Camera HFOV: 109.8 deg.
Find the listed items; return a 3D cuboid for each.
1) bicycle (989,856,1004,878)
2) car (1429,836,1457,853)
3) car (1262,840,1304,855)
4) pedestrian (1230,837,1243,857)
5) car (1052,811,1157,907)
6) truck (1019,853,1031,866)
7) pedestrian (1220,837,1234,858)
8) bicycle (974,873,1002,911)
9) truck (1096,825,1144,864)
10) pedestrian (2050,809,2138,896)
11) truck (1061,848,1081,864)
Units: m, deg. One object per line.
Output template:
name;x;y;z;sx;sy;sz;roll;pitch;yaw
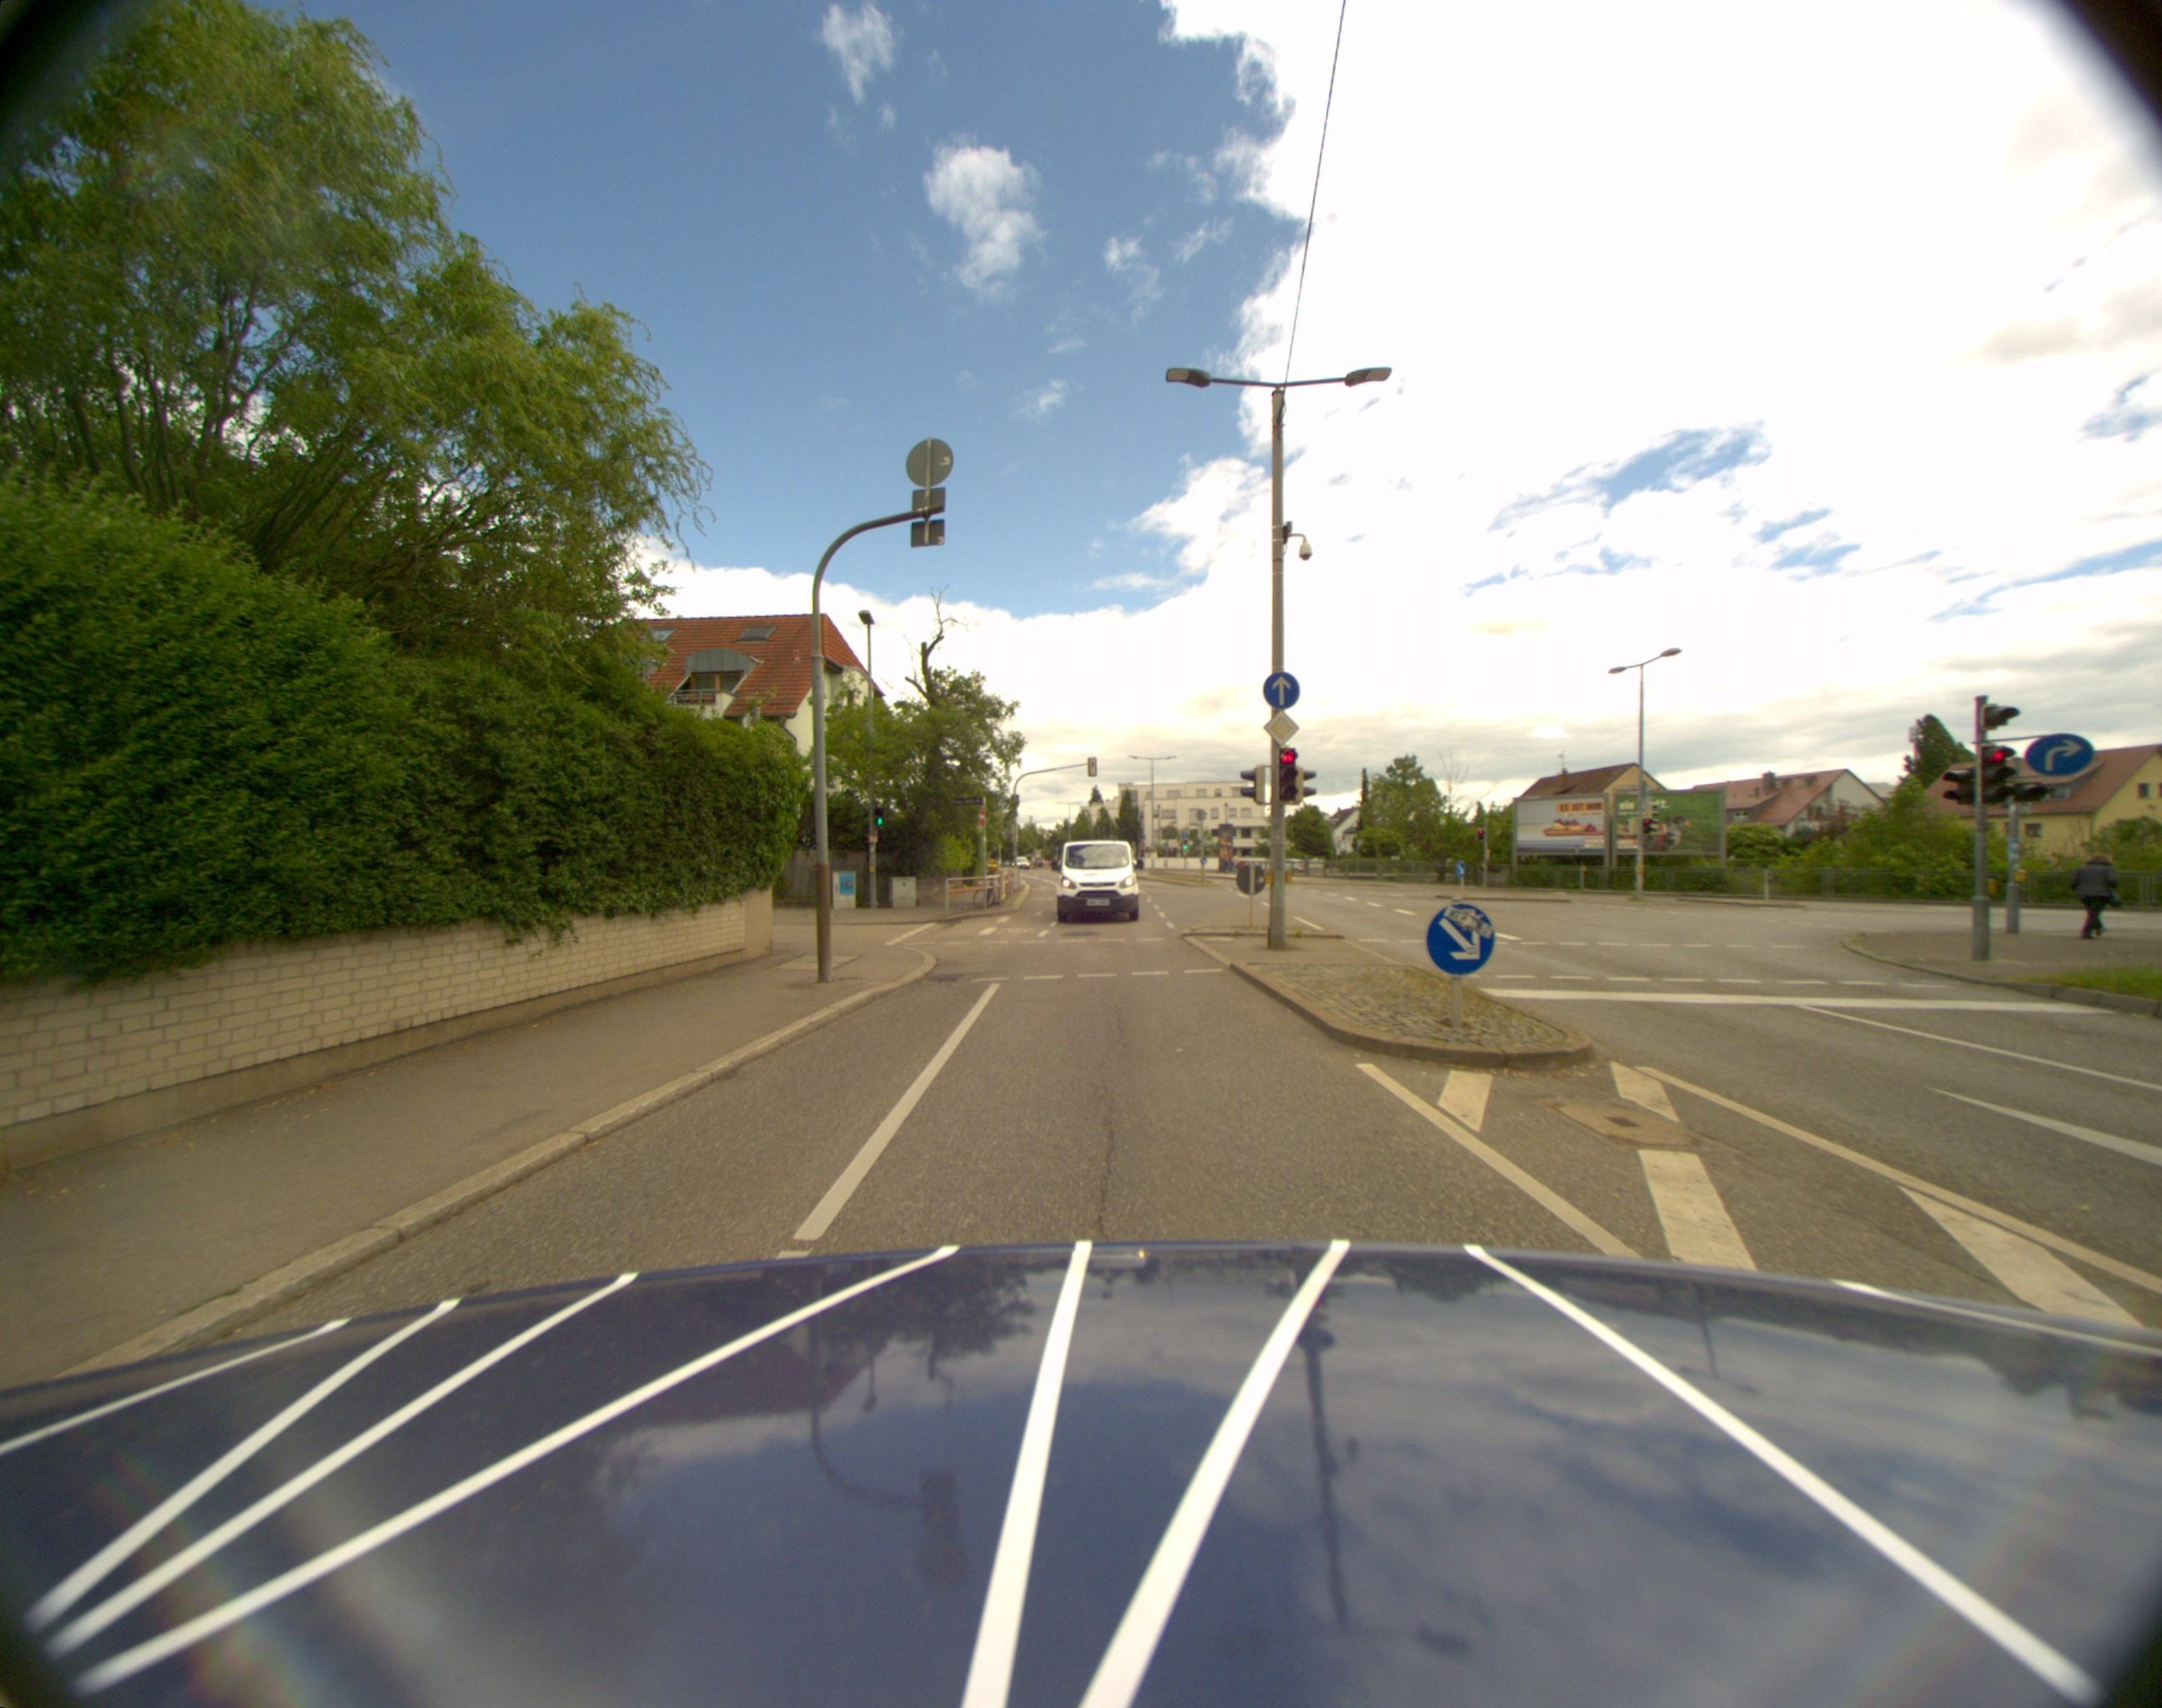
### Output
bicycle;-6.099;0.942;55.101;0.894;1.501;2.782;3;0;-3
car;39.417;-0.996;82.667;1.782;1.572;4.007;-3;1;40
car;22.206;-0.696;83.448;4.117;1.526;1.651;1;1;36
pedestrian;12.571;-0.578;61.416;0.658;1.624;0.832;-3;1;-15
car;0.410;0.096;19.345;2.076;1.956;5.555;-4;0;-3
truck;-8.090;0.737;109.590;1.616;1.780;3.997;0;0;-7
pedestrian;11.751;-0.541;61.293;0.658;1.624;1.069;-3;1;-15
bicycle;-2.755;1.106;22.623;0.629;1.022;1.504;-2;1;0
truck;2.694;-0.628;53.645;2.038;2.555;6.051;0;0;-11
pedestrian;17.161;-0.033;12.878;0.776;1.400;0.600;-4;3;-10
truck;-1.538;0.242;114.066;2.132;2.251;6.800;-1;1;-8
